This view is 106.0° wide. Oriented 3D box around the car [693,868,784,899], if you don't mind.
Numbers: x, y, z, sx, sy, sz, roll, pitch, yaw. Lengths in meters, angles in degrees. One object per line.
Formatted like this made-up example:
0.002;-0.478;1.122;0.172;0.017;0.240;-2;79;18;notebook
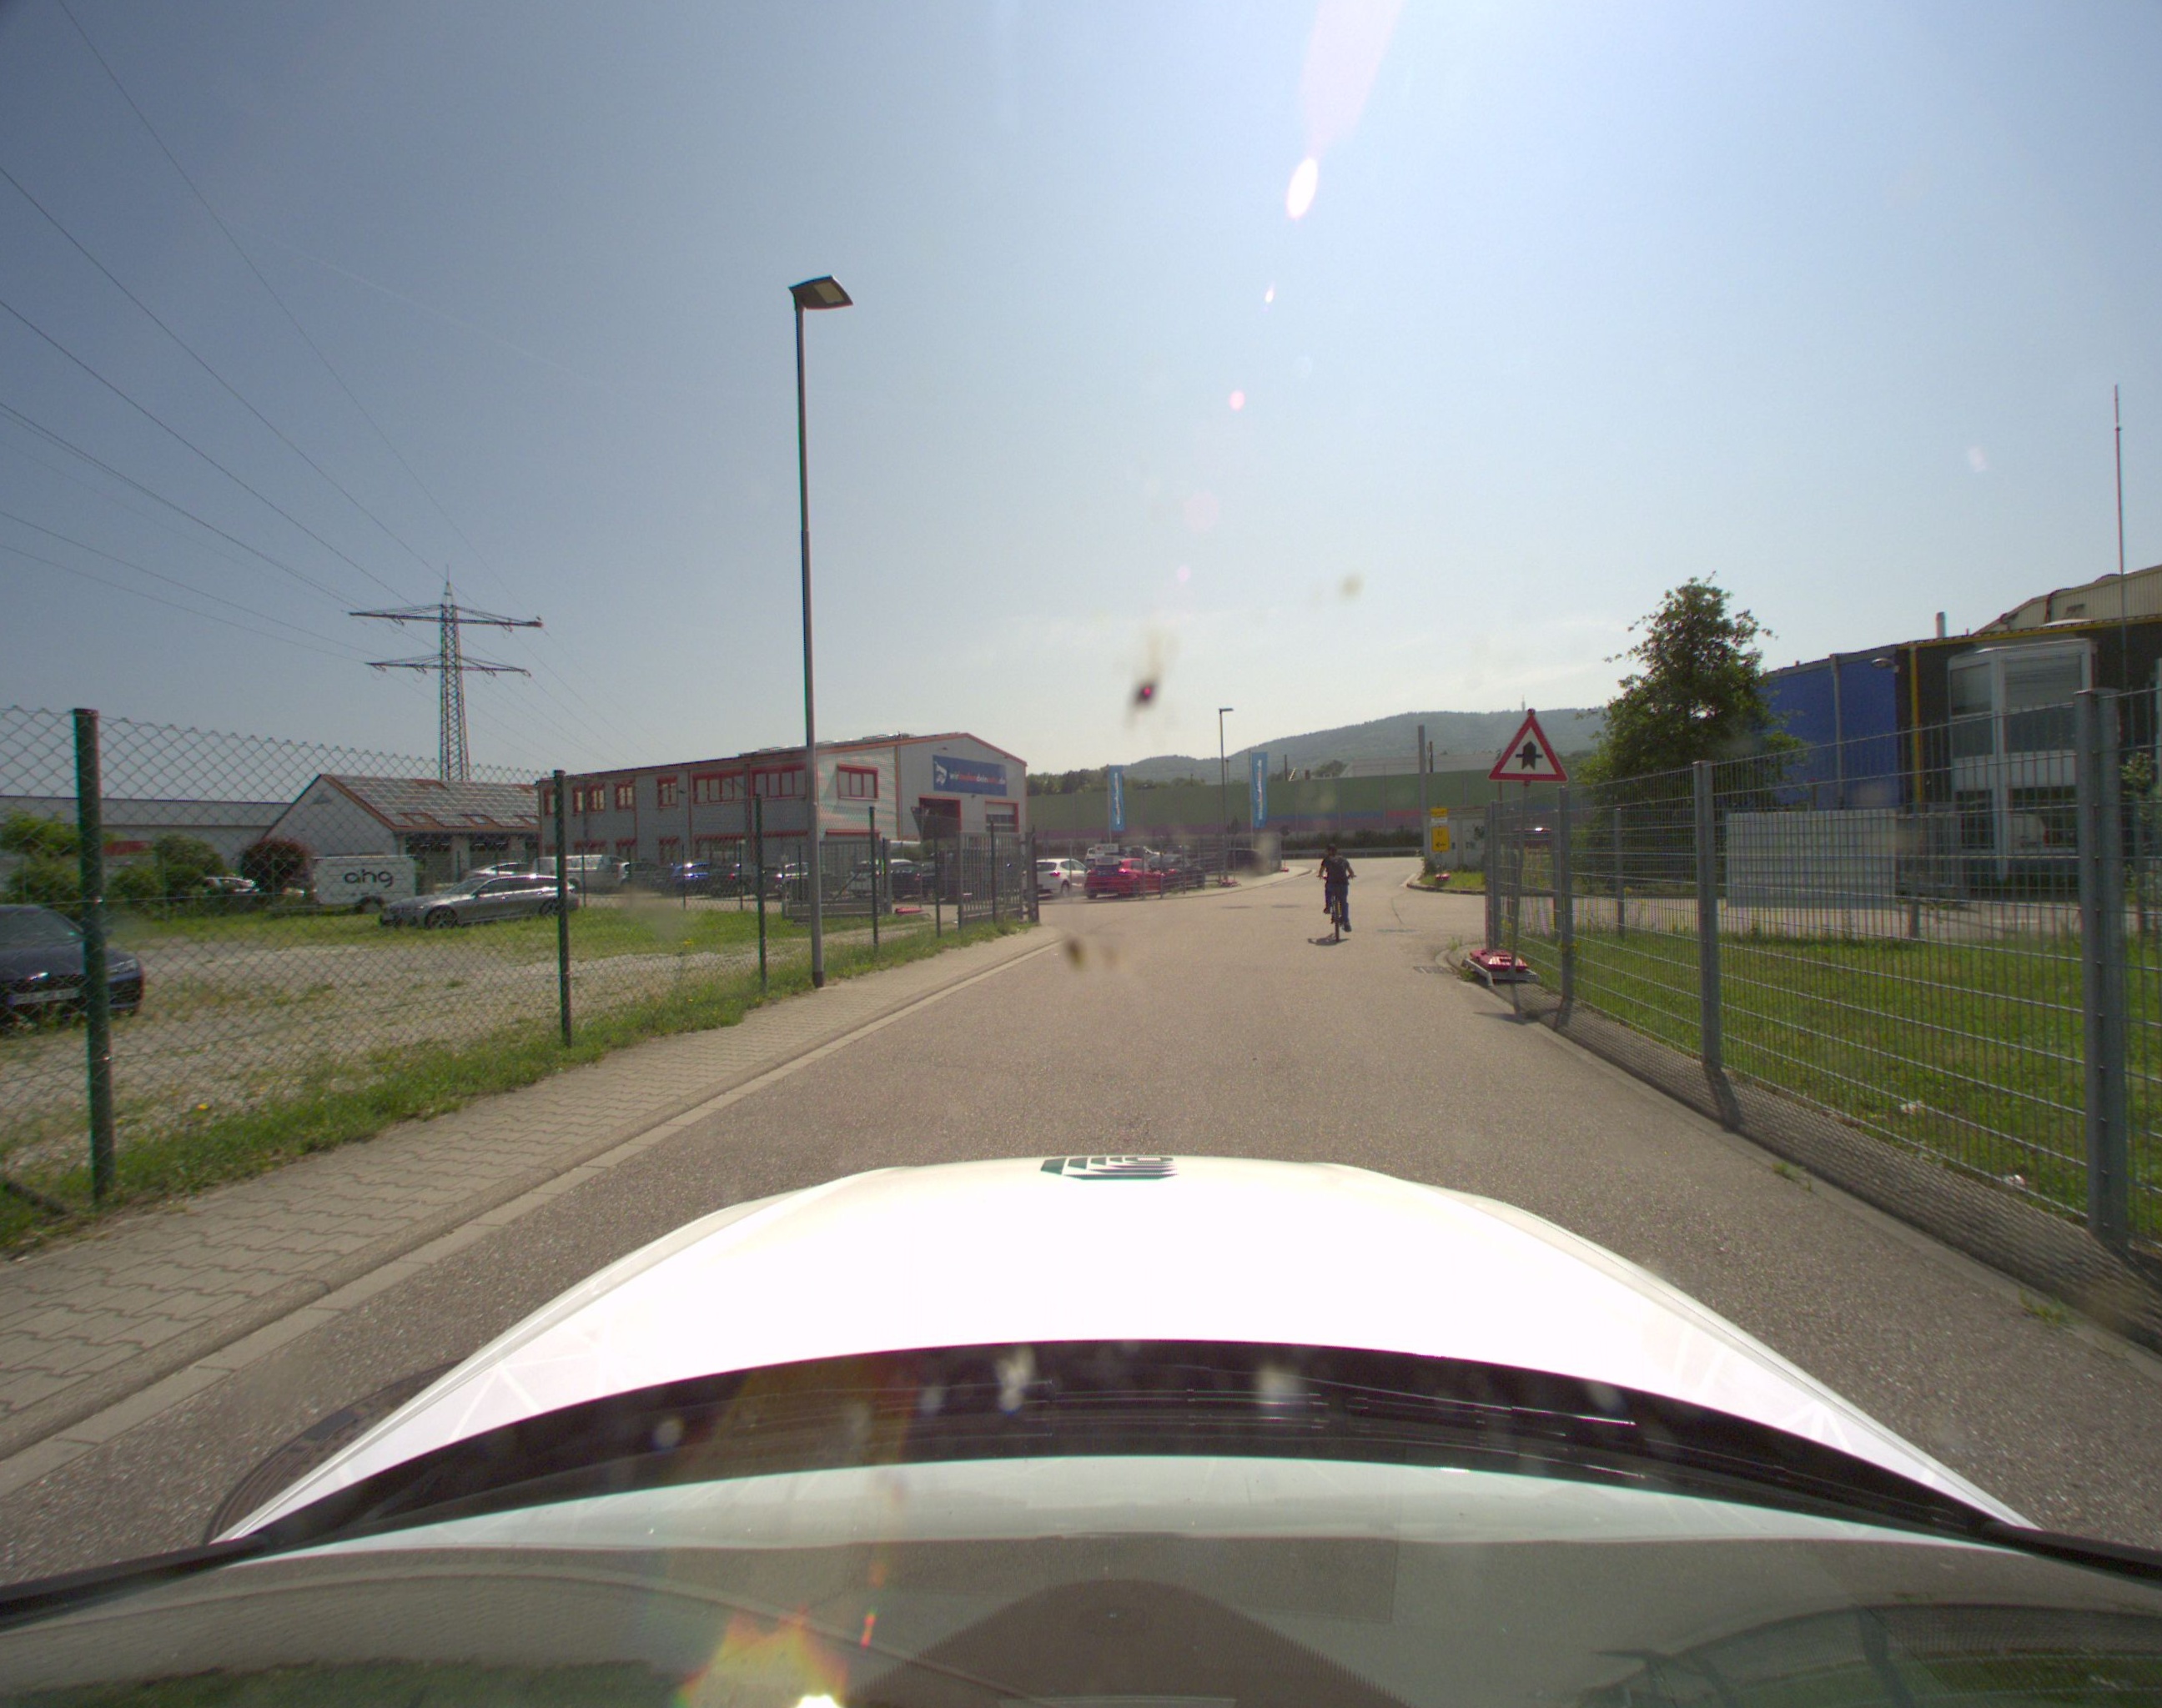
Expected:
-15.148;1.281;36.183;1.489;1.151;3.625;-2;0;26;car

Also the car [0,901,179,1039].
-13.849;1.389;10.336;4.607;1.435;2.014;-2;0;26;car

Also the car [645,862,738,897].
-17.745;1.156;37.265;1.489;1.416;3.625;-2;0;26;car

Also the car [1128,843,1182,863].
6.107;-0.085;67.167;3.950;1.492;2.012;-2;0;27;car

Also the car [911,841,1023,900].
-4.214;0.572;30.891;1.932;2.030;4.544;-2;0;26;car

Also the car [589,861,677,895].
-22.445;1.177;40.894;1.489;1.544;3.625;-2;0;26;car

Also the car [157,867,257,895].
-47.915;1.444;44.691;1.646;1.342;3.354;-2;0;24;car

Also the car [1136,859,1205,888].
3.785;0.769;33.782;1.470;1.007;4.138;-2;0;26;car

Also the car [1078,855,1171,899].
1.665;0.797;29.640;1.852;1.386;4.138;-2;0;26;car

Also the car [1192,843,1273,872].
8.545;0.207;45.966;3.949;1.492;2.013;-2;0;30;car

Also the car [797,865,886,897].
-9.995;1.118;34.203;1.489;1.151;3.625;-2;0;26;car

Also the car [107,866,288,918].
-31.581;1.327;29.247;1.853;1.598;4.025;-2;0;29;car

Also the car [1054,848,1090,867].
-0.843;0.305;77.365;1.682;1.657;4.025;-2;0;28;car

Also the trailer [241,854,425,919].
-25.715;1.035;28.133;1.692;1.945;4.490;-2;1;42;trailer

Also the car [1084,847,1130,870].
2.018;0.346;61.330;1.975;1.581;4.023;-2;0;25;car

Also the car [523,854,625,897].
-25.482;1.042;41.062;1.800;1.978;3.930;-2;0;26;car

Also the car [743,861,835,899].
-12.330;1.075;34.578;1.489;1.381;3.625;-2;0;26;car

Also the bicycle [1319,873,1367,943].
4.427;0.885;13.861;0.680;1.051;1.909;-2;0;16;bicycle

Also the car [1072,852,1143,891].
1.193;0.718;34.838;1.470;1.454;3.917;-2;0;26;car

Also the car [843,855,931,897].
-7.902;0.879;33.426;1.489;1.539;3.625;-2;0;26;car

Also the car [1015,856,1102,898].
-0.782;0.836;30.645;1.729;1.404;3.625;-2;0;26;car

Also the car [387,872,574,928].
-16.932;1.247;23.219;1.220;1.261;4.167;-2;0;26;car

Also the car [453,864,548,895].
-31.609;1.370;44.456;1.489;1.516;3.930;-2;0;26;car

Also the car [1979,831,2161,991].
10.731;0.409;6.927;3.897;1.277;1.910;-2;0;5;car

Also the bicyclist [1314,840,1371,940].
4.422;0.590;13.822;0.836;1.618;1.043;-1;-1;14;bicyclist
